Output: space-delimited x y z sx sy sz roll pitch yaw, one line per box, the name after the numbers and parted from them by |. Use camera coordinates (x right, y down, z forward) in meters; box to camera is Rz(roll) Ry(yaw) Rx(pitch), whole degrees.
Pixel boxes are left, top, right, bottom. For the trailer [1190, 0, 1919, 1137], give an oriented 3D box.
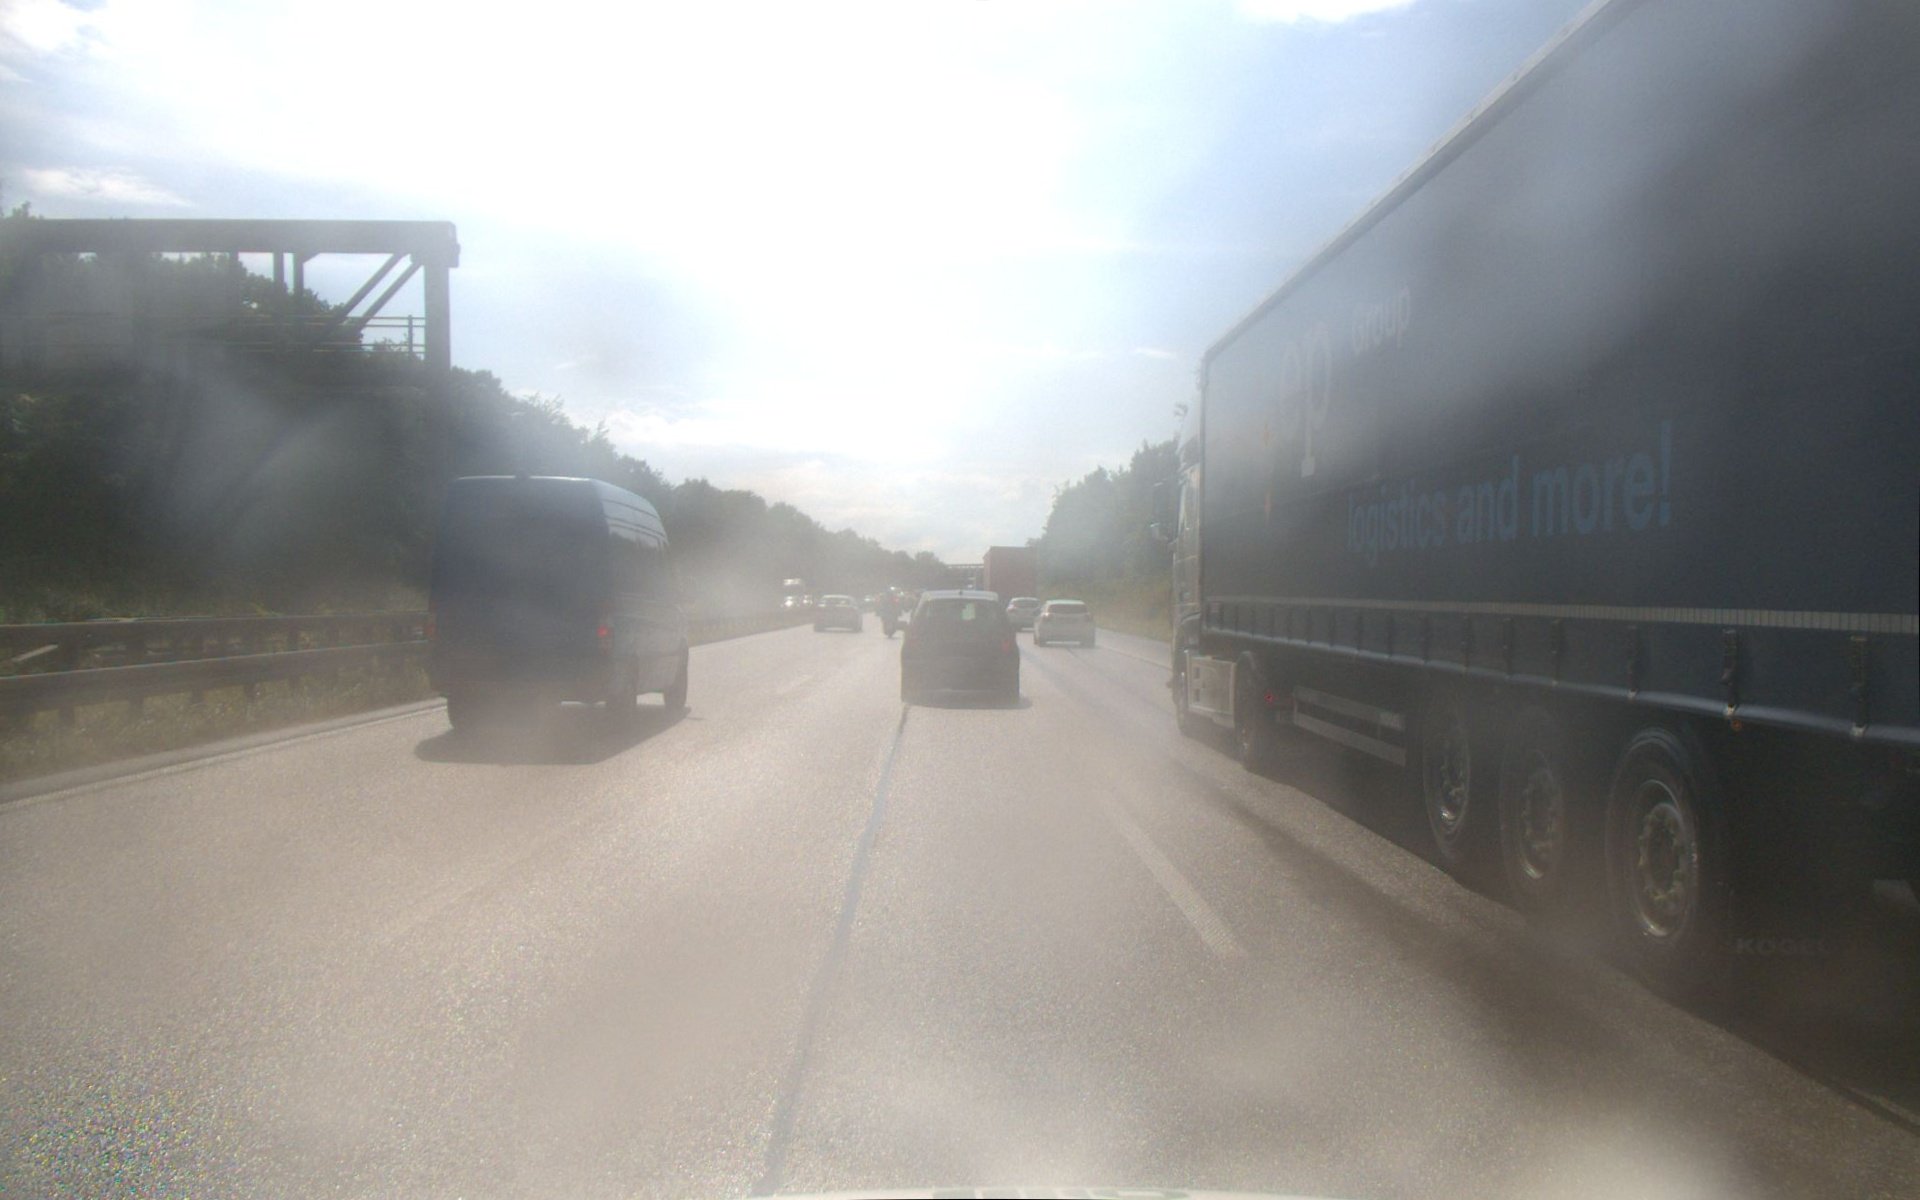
3.844 -0.525 10.325 2.581 4.065 14.061 1 0 -1 | trailer

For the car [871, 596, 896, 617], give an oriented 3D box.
-5.652 0.464 122.987 1.715 1.482 3.389 1 0 -1 | car

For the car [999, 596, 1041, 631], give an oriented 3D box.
2.648 0.600 73.661 1.646 1.467 3.904 1 0 -1 | car

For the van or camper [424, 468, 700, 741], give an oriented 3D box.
-4.419 0.057 19.310 1.953 2.715 5.383 1 0 -1 | van or camper

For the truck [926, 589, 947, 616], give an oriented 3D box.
-2.564 0.295 180.474 2.147 2.926 4.848 1 0 -1 | truck

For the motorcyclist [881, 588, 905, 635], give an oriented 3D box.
-2.401 0.405 59.306 0.785 1.662 1.013 1 0 -1 | motorcyclist

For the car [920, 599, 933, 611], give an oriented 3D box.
-4.900 0.682 241.689 1.953 1.731 3.999 0 0 -1 | car

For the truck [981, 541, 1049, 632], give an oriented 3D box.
3.094 -0.690 97.407 3.574 4.803 16.779 1 0 1 | truck

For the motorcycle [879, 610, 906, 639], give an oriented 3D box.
-2.395 0.870 59.333 0.872 1.018 2.895 1 0 -1 | motorcycle

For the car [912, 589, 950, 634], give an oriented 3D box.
-1.180 0.479 68.383 1.500 1.777 3.484 1 0 -1 | car

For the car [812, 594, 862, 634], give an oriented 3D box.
-5.063 0.573 68.314 1.817 1.578 3.484 1 0 -1 | car

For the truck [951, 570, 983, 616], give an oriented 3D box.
0.769 -0.699 174.608 3.189 4.558 12.422 1 0 1 | truck

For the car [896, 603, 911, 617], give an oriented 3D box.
-5.982 1.027 175.328 1.455 1.414 3.198 1 0 -1 | car

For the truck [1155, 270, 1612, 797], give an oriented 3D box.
3.744 -0.502 16.555 2.554 4.065 7.288 1 0 -1 | truck

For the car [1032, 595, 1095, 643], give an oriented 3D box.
3.247 0.590 52.584 1.658 1.450 4.219 1 0 -1 | car

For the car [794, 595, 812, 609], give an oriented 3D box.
-19.508 0.312 205.413 1.791 1.692 4.630 1 0 -1 | car

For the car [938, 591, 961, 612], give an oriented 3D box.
-0.748 0.132 116.409 1.521 1.407 3.209 1 0 -1 | car

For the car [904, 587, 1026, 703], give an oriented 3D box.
0.039 0.643 24.877 1.683 1.595 3.484 1 0 -1 | car
